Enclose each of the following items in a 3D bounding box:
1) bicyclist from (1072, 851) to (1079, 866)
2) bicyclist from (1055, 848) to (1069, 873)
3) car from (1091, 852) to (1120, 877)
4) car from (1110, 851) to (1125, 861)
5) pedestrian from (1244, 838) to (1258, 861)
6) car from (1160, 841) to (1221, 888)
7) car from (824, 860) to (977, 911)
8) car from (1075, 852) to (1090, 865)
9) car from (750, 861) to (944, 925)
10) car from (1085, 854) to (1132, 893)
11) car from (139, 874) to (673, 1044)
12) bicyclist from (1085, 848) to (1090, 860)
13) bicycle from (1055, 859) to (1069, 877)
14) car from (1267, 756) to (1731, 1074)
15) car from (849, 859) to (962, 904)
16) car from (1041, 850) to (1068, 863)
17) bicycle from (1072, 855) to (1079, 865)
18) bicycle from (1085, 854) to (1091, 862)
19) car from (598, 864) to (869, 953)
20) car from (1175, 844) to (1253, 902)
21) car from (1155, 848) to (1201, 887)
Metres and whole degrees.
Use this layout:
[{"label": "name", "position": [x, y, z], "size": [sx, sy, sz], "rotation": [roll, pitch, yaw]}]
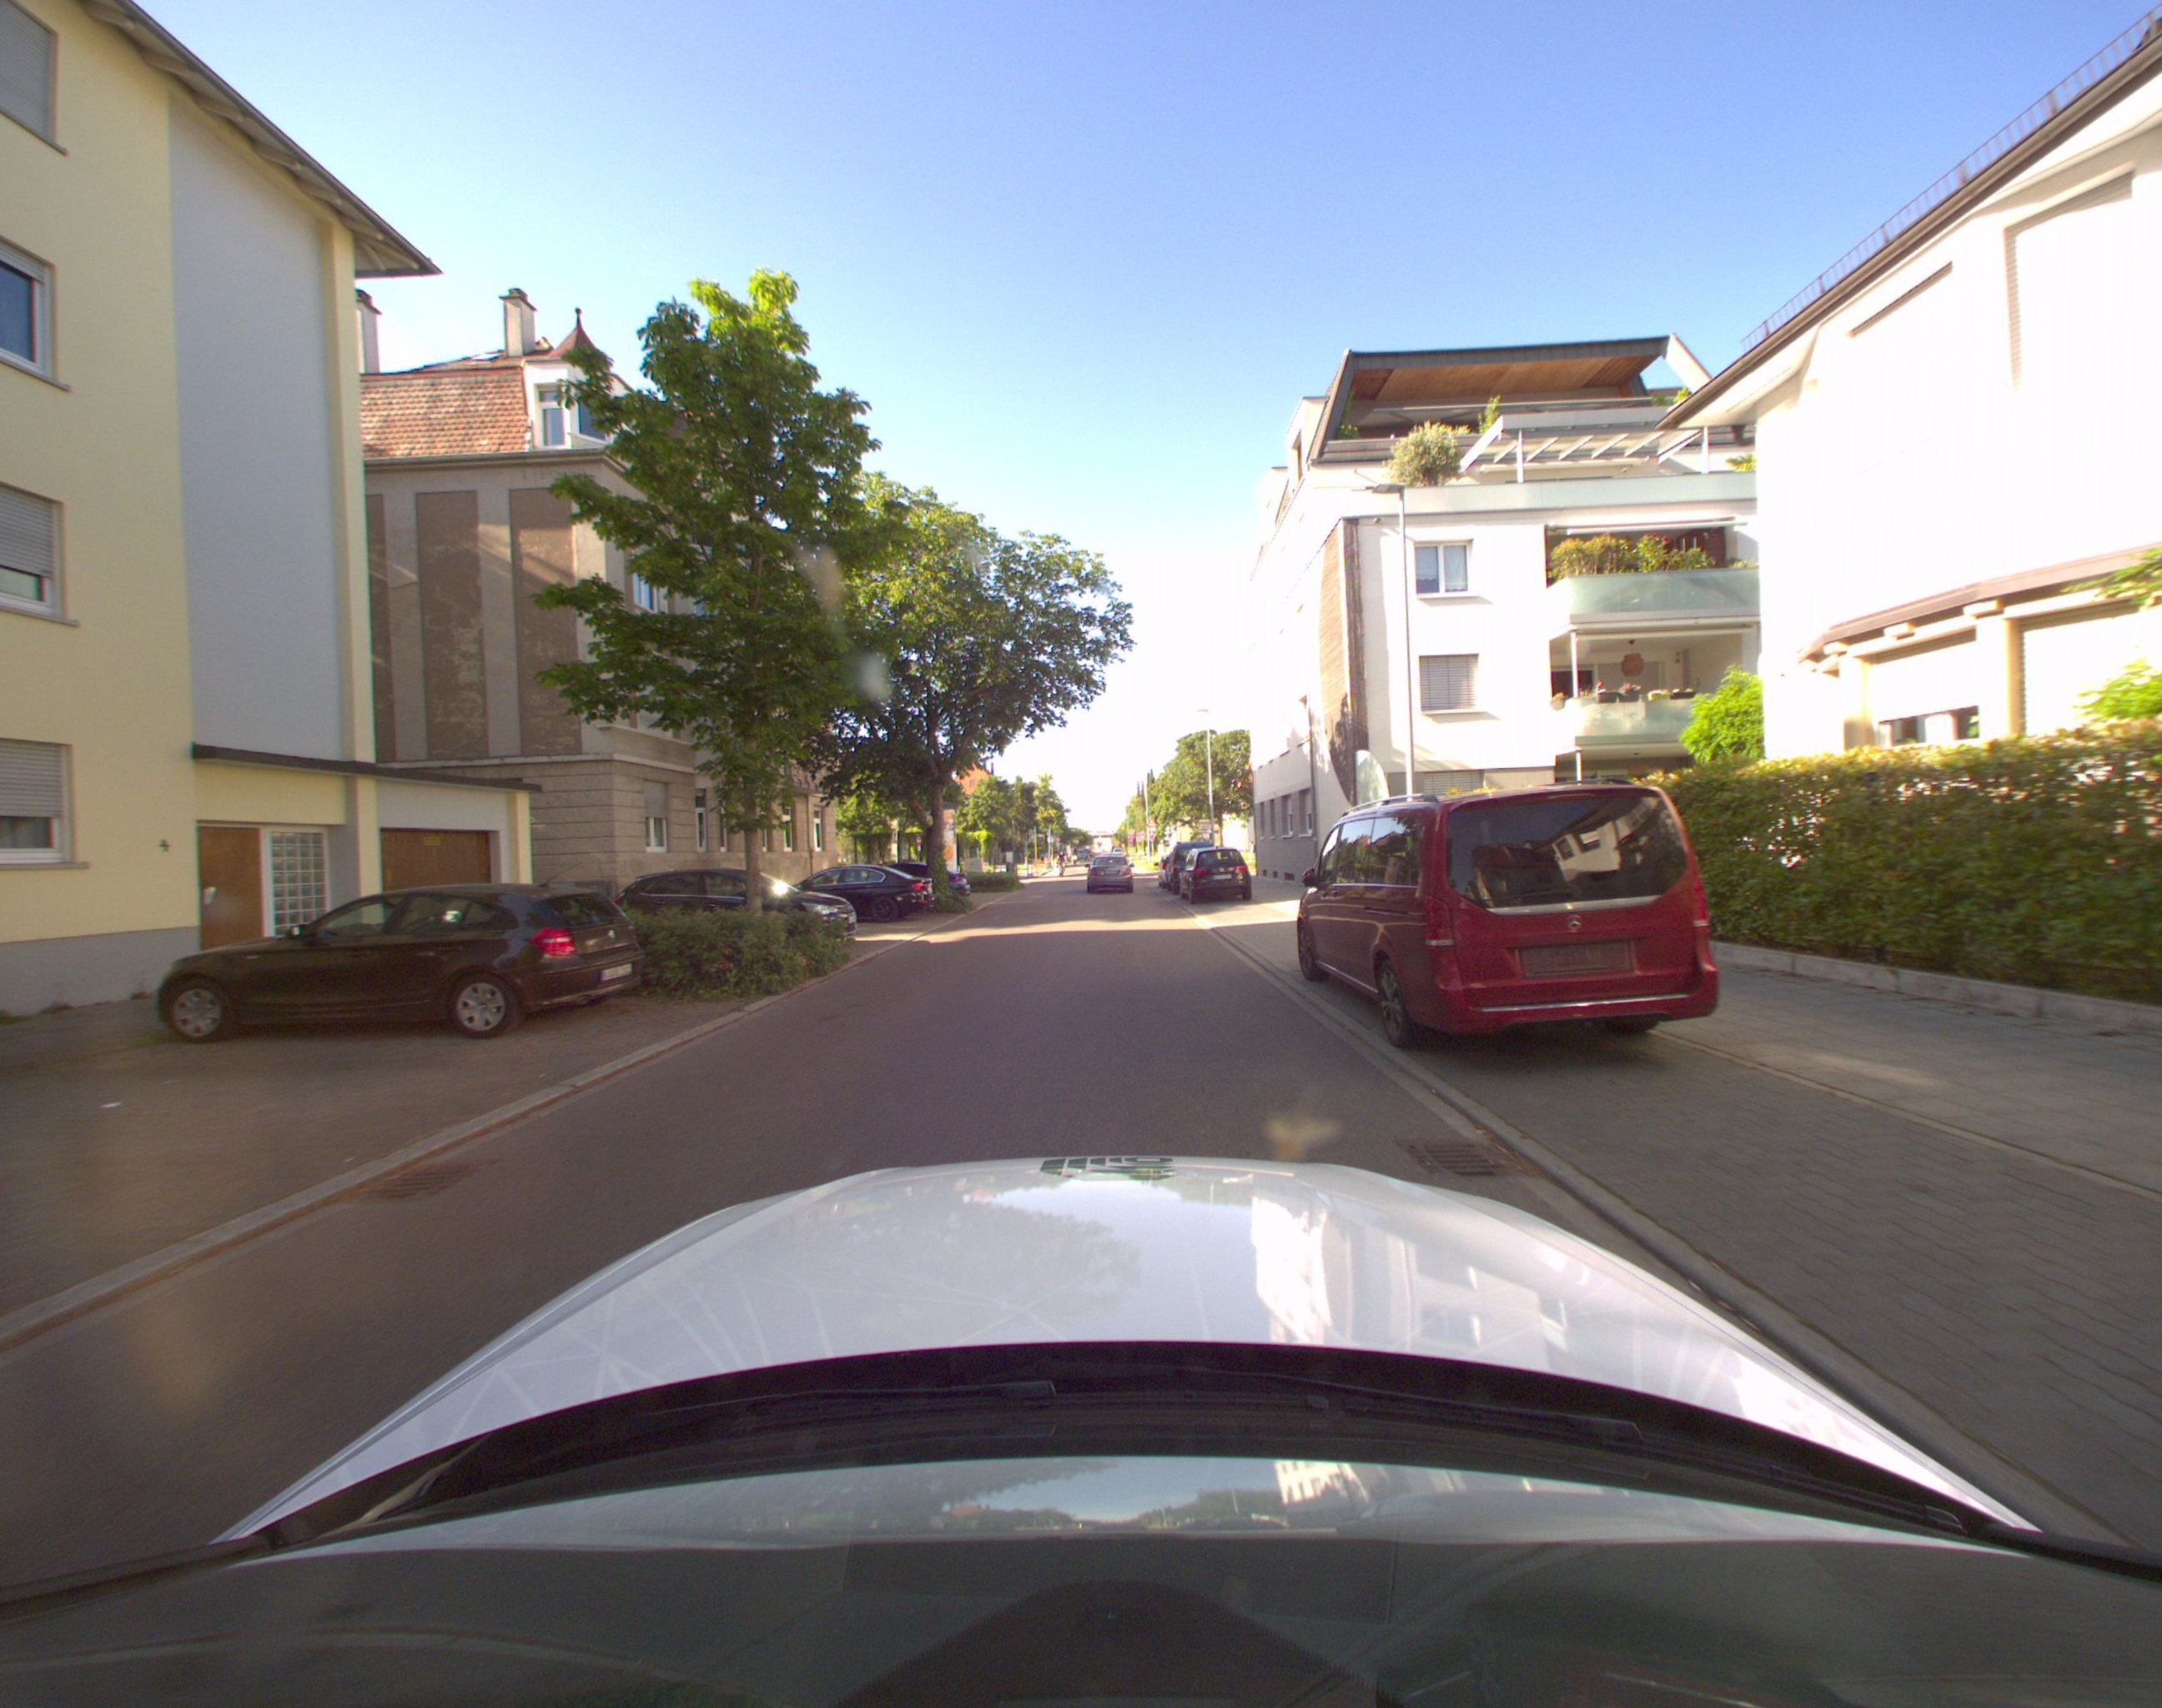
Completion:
[{"label": "bicyclist", "position": [-0.558, 0.415, 83.957], "size": [0.677, 1.509, 0.655], "rotation": [-3, 0, 3]}, {"label": "bicyclist", "position": [-1.206, 0.422, 51.725], "size": [0.718, 1.537, 1.137], "rotation": [-3, 0, 2]}, {"label": "car", "position": [1.474, 0.622, 49.239], "size": [1.701, 1.448, 4.203], "rotation": [0, -1, 1]}, {"label": "car", "position": [5.312, 0.248, 119.335], "size": [1.718, 1.330, 3.996], "rotation": [-2, 0, -3]}, {"label": "pedestrian", "position": [12.053, -0.314, 57.677], "size": [0.640, 1.623, 0.621], "rotation": [-3, 0, 40]}, {"label": "car", "position": [3.984, 0.412, 30.167], "size": [1.676, 1.435, 4.267], "rotation": [-6, -1, 2]}, {"label": "car", "position": [-5.729, 0.981, 26.210], "size": [4.460, 1.479, 1.868], "rotation": [-1, -1, -1]}, {"label": "car", "position": [0.201, 0.653, 116.714], "size": [1.868, 1.728, 3.996], "rotation": [-3, 0, -3]}, {"label": "car", "position": [-5.970, 0.980, 21.187], "size": [4.460, 1.479, 1.868], "rotation": [-1, -1, -1]}, {"label": "car", "position": [1.104, 0.755, 31.848], "size": [1.719, 1.420, 3.963], "rotation": [0, -1, 3]}, {"label": "car", "position": [-6.681, 0.996, 8.414], "size": [3.973, 1.421, 1.771], "rotation": [-1, 1, 0]}, {"label": "bicyclist", "position": [0.886, 0.041, 104.563], "size": [0.569, 1.509, 0.655], "rotation": [-3, 0, 3]}, {"label": "bicycle", "position": [-1.186, 0.858, 51.629], "size": [0.716, 1.079, 1.892], "rotation": [-3, 0, 2]}, {"label": "car", "position": [3.233, 0.407, 7.758], "size": [1.864, 1.905, 5.201], "rotation": [-3, -1, 3]}, {"label": "car", "position": [-6.162, 0.967, 28.903], "size": [3.567, 1.430, 1.731], "rotation": [-2, 0, 1]}, {"label": "car", "position": [-3.636, 0.336, 111.799], "size": [3.488, 1.533, 1.642], "rotation": [-2, 0, -5]}, {"label": "bicycle", "position": [-0.546, 0.636, 83.949], "size": [0.586, 0.931, 1.852], "rotation": [-3, 0, 3]}, {"label": "bicycle", "position": [0.905, 0.515, 104.544], "size": [0.586, 0.931, 1.852], "rotation": [-3, 0, 3]}, {"label": "car", "position": [-6.233, 0.946, 15.081], "size": [4.167, 1.500, 1.996], "rotation": [0, -1, -6]}, {"label": "car", "position": [3.875, 0.526, 24.387], "size": [1.730, 1.531, 4.180], "rotation": [-2, 0, 2]}, {"label": "car", "position": [4.050, 0.570, 34.531], "size": [1.558, 1.410, 3.732], "rotation": [-6, -1, 3]}]
